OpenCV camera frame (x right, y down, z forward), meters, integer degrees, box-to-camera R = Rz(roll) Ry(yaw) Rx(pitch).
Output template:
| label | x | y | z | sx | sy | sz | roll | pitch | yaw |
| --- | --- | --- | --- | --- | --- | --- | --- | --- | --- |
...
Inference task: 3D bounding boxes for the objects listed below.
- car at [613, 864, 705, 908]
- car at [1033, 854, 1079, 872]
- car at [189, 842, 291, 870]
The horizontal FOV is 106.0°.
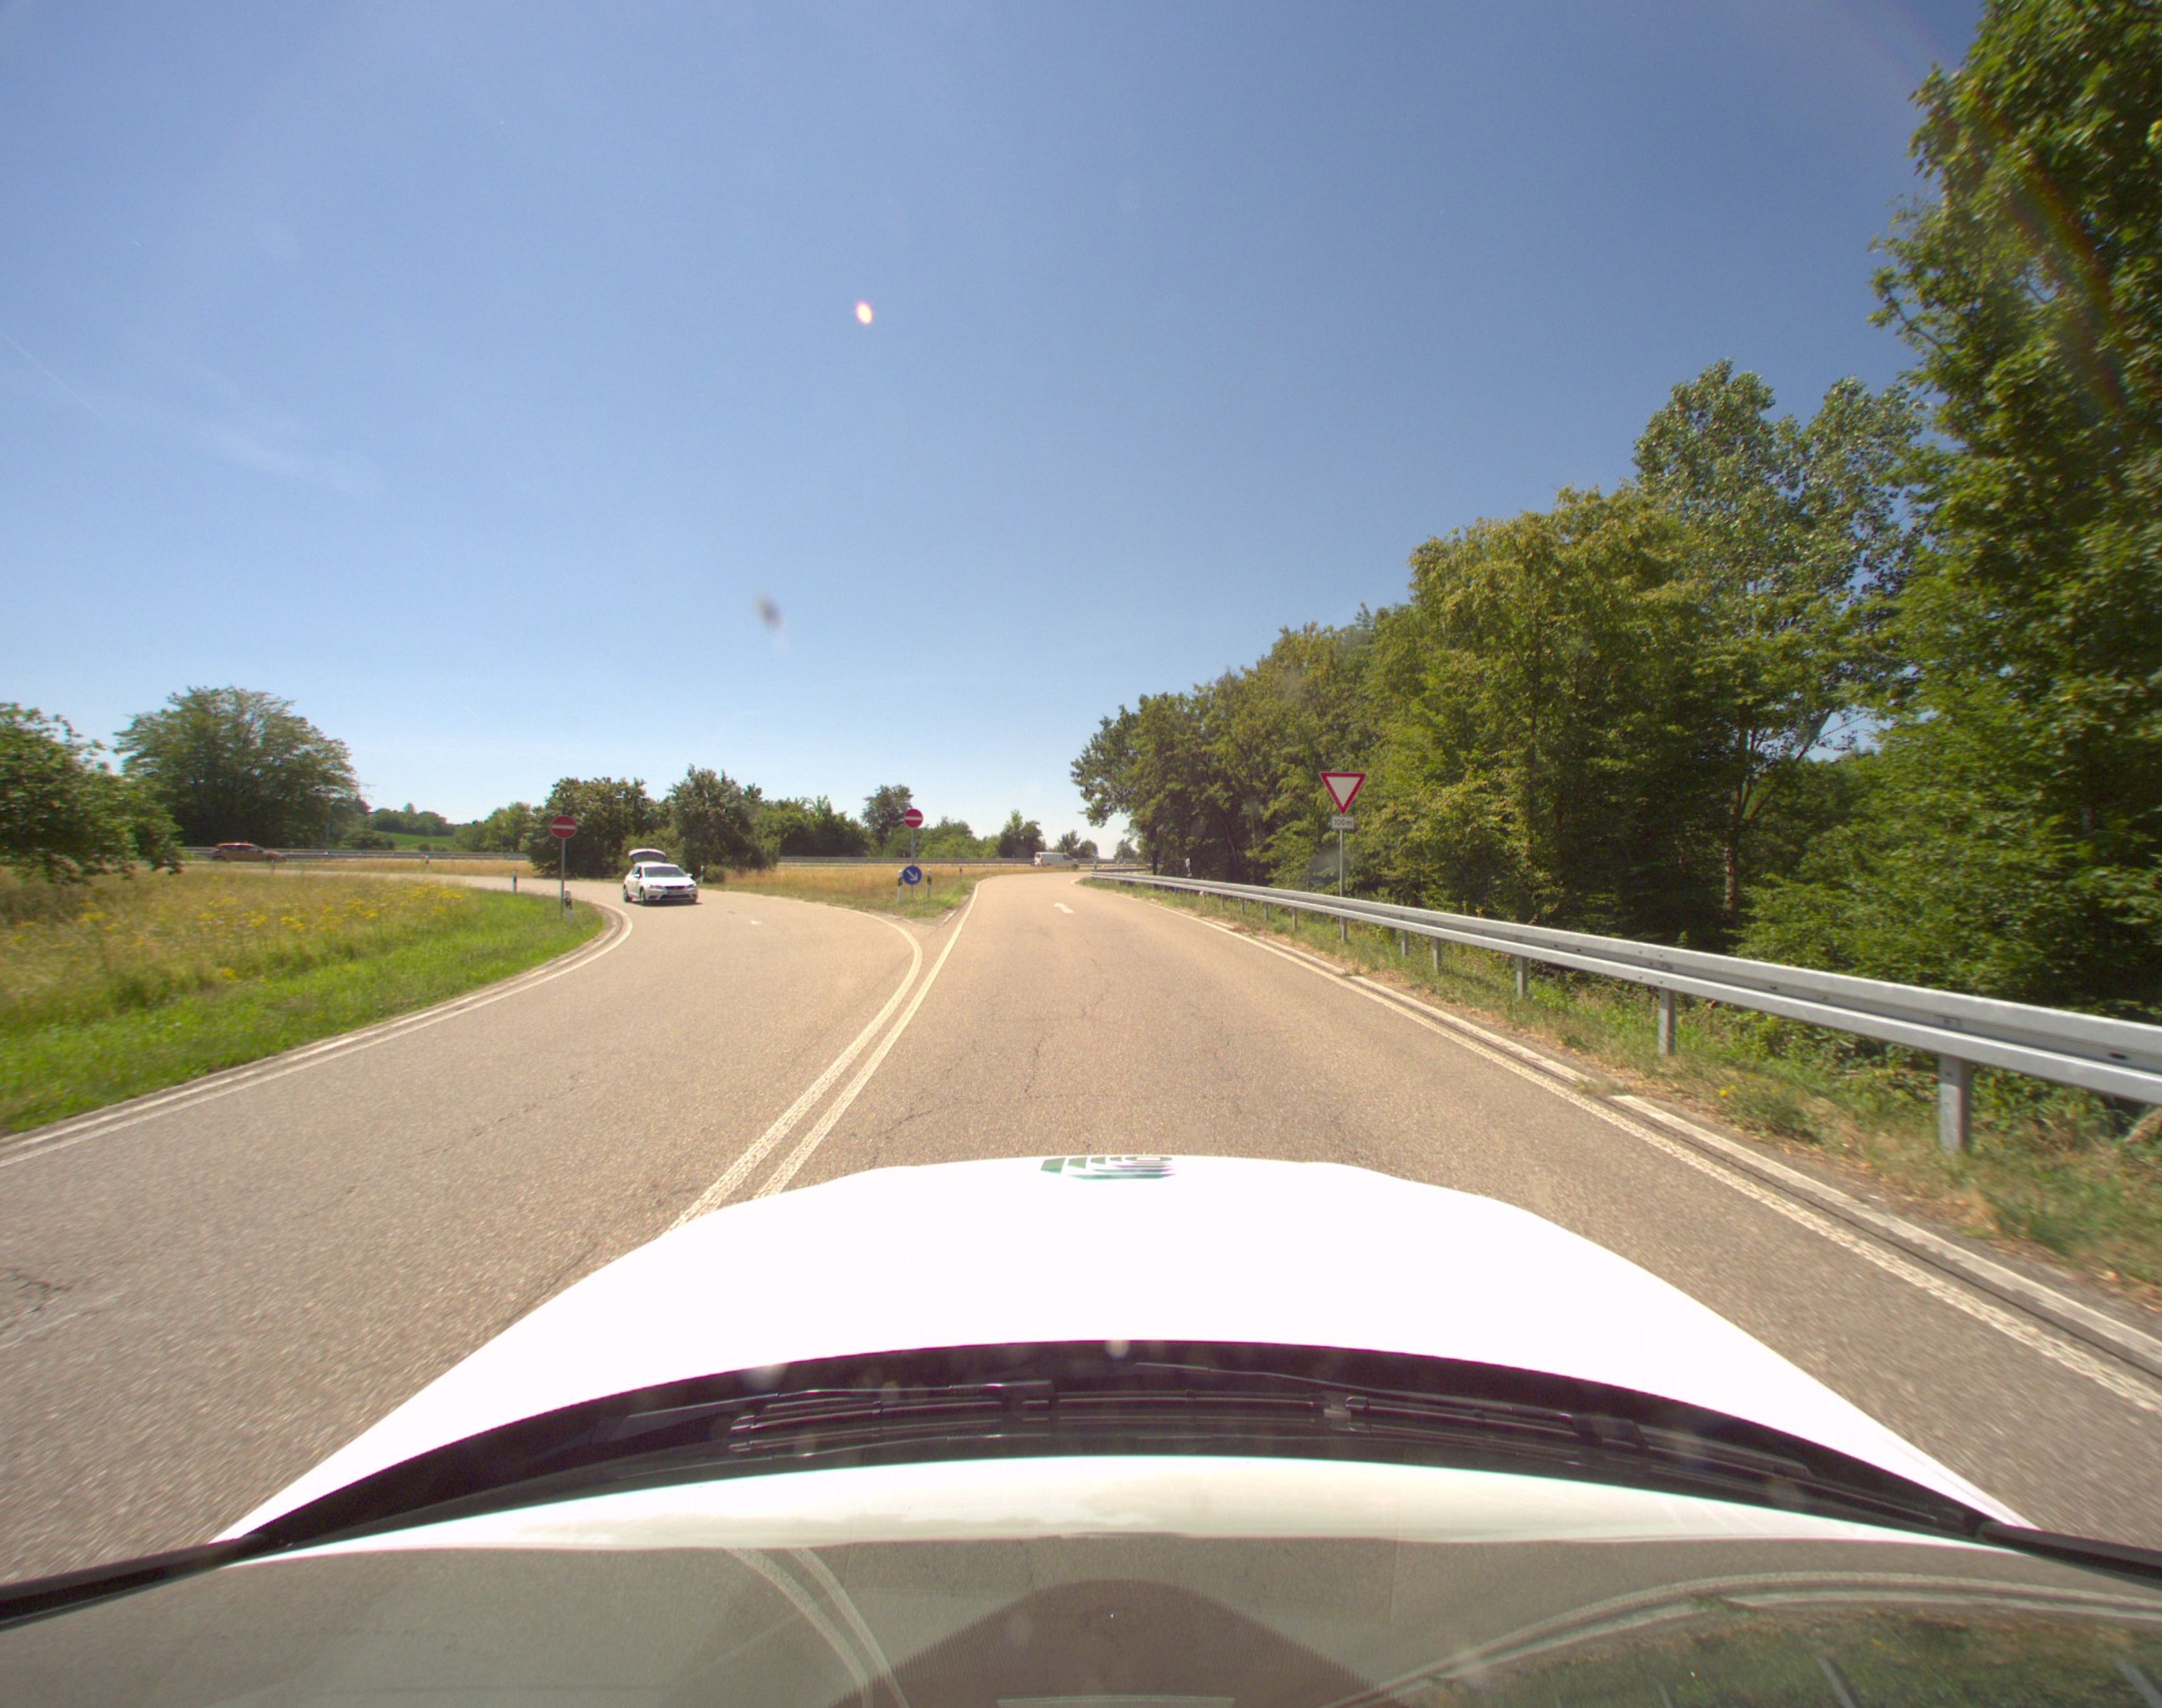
| label | x | y | z | sx | sy | sz | roll | pitch | yaw |
| --- | --- | --- | --- | --- | --- | --- | --- | --- | --- |
| car | -15.374 | 1.131 | 29.607 | 1.863 | 1.424 | 4.096 | -2 | 0 | -44 |
| car | -2.851 | 1.032 | 92.791 | 4.832 | 1.928 | 1.981 | 3 | -3 | -29 |
| car | -59.786 | 0.159 | 57.996 | 4.540 | 1.790 | 1.981 | 3 | -3 | -29 |
